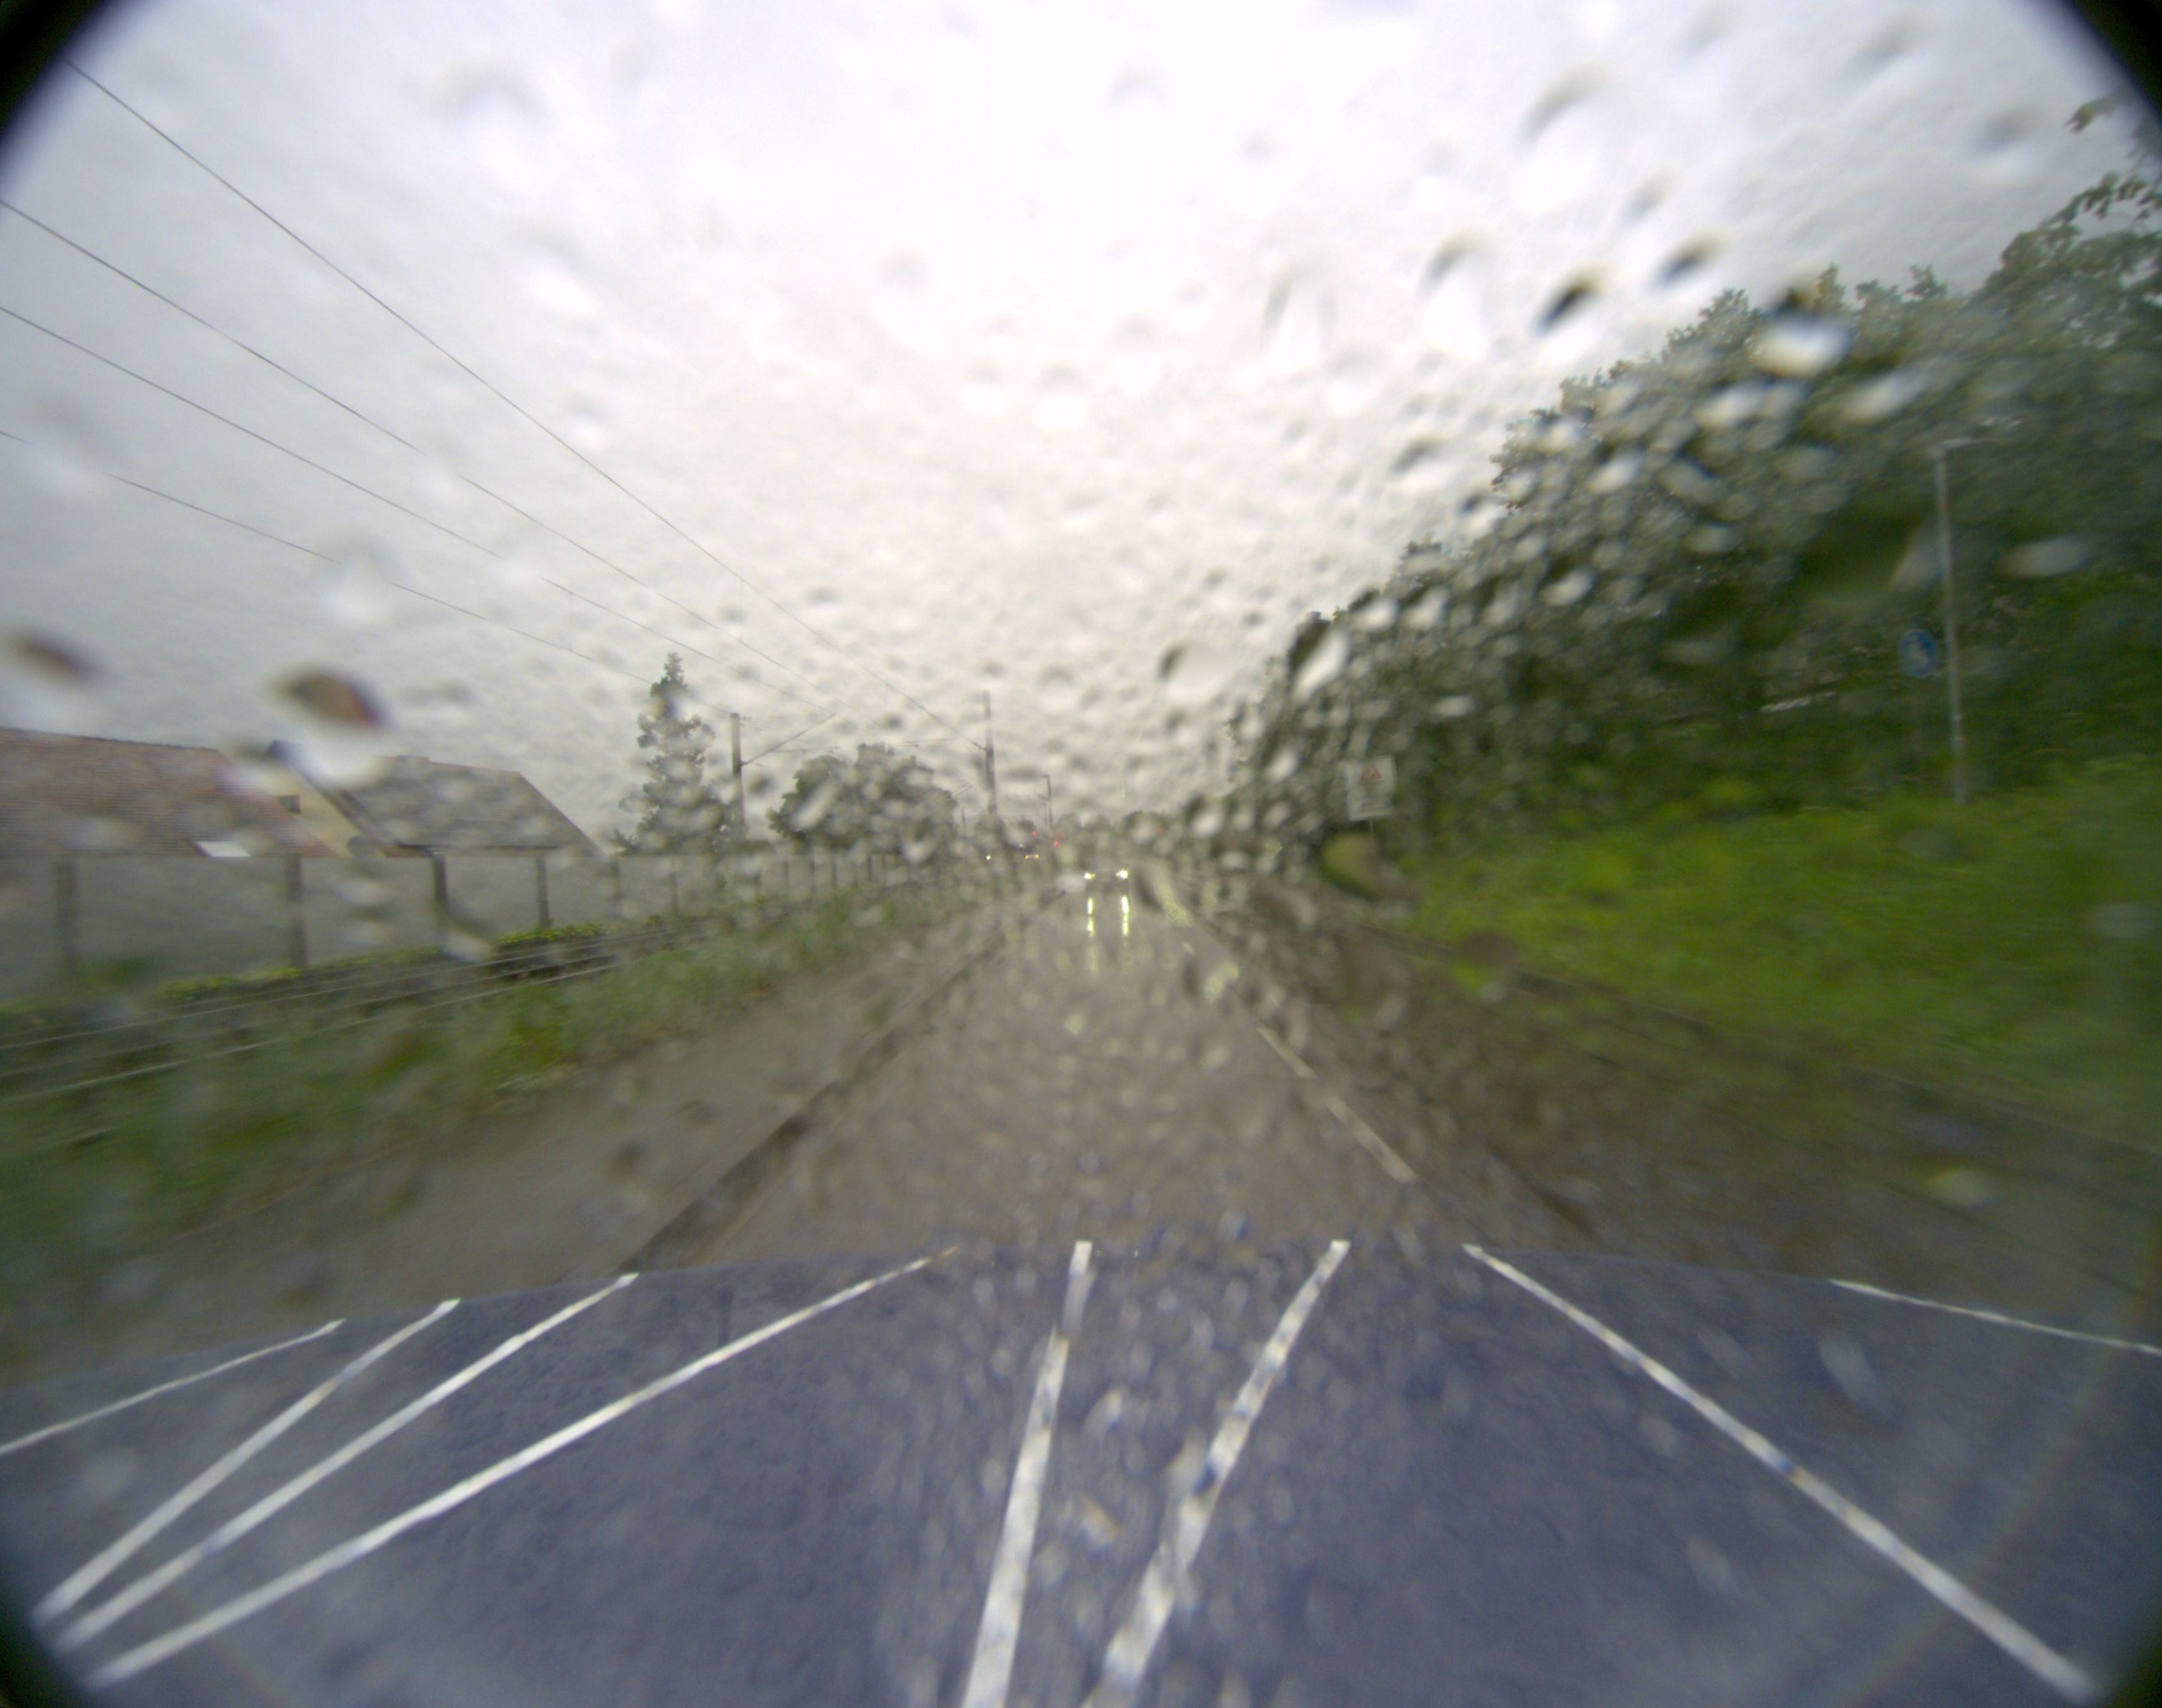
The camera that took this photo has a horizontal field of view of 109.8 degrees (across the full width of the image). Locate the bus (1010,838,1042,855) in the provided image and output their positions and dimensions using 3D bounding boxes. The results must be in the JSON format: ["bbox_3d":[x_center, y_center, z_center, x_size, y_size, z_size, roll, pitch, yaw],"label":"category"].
[{"bbox_3d":[-11.162,-1.546,153.896,2.681,3.060,9.973,-5,2,-27],"label":"bus"}]

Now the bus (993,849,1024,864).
[{"bbox_3d":[-15.643,0.568,162.803,2.682,3.060,9.972,-5,2,-28],"label":"bus"}]

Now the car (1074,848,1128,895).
[{"bbox_3d":[0.847,0.653,31.466,1.998,1.623,3.999,-4,1,2],"label":"car"}]
